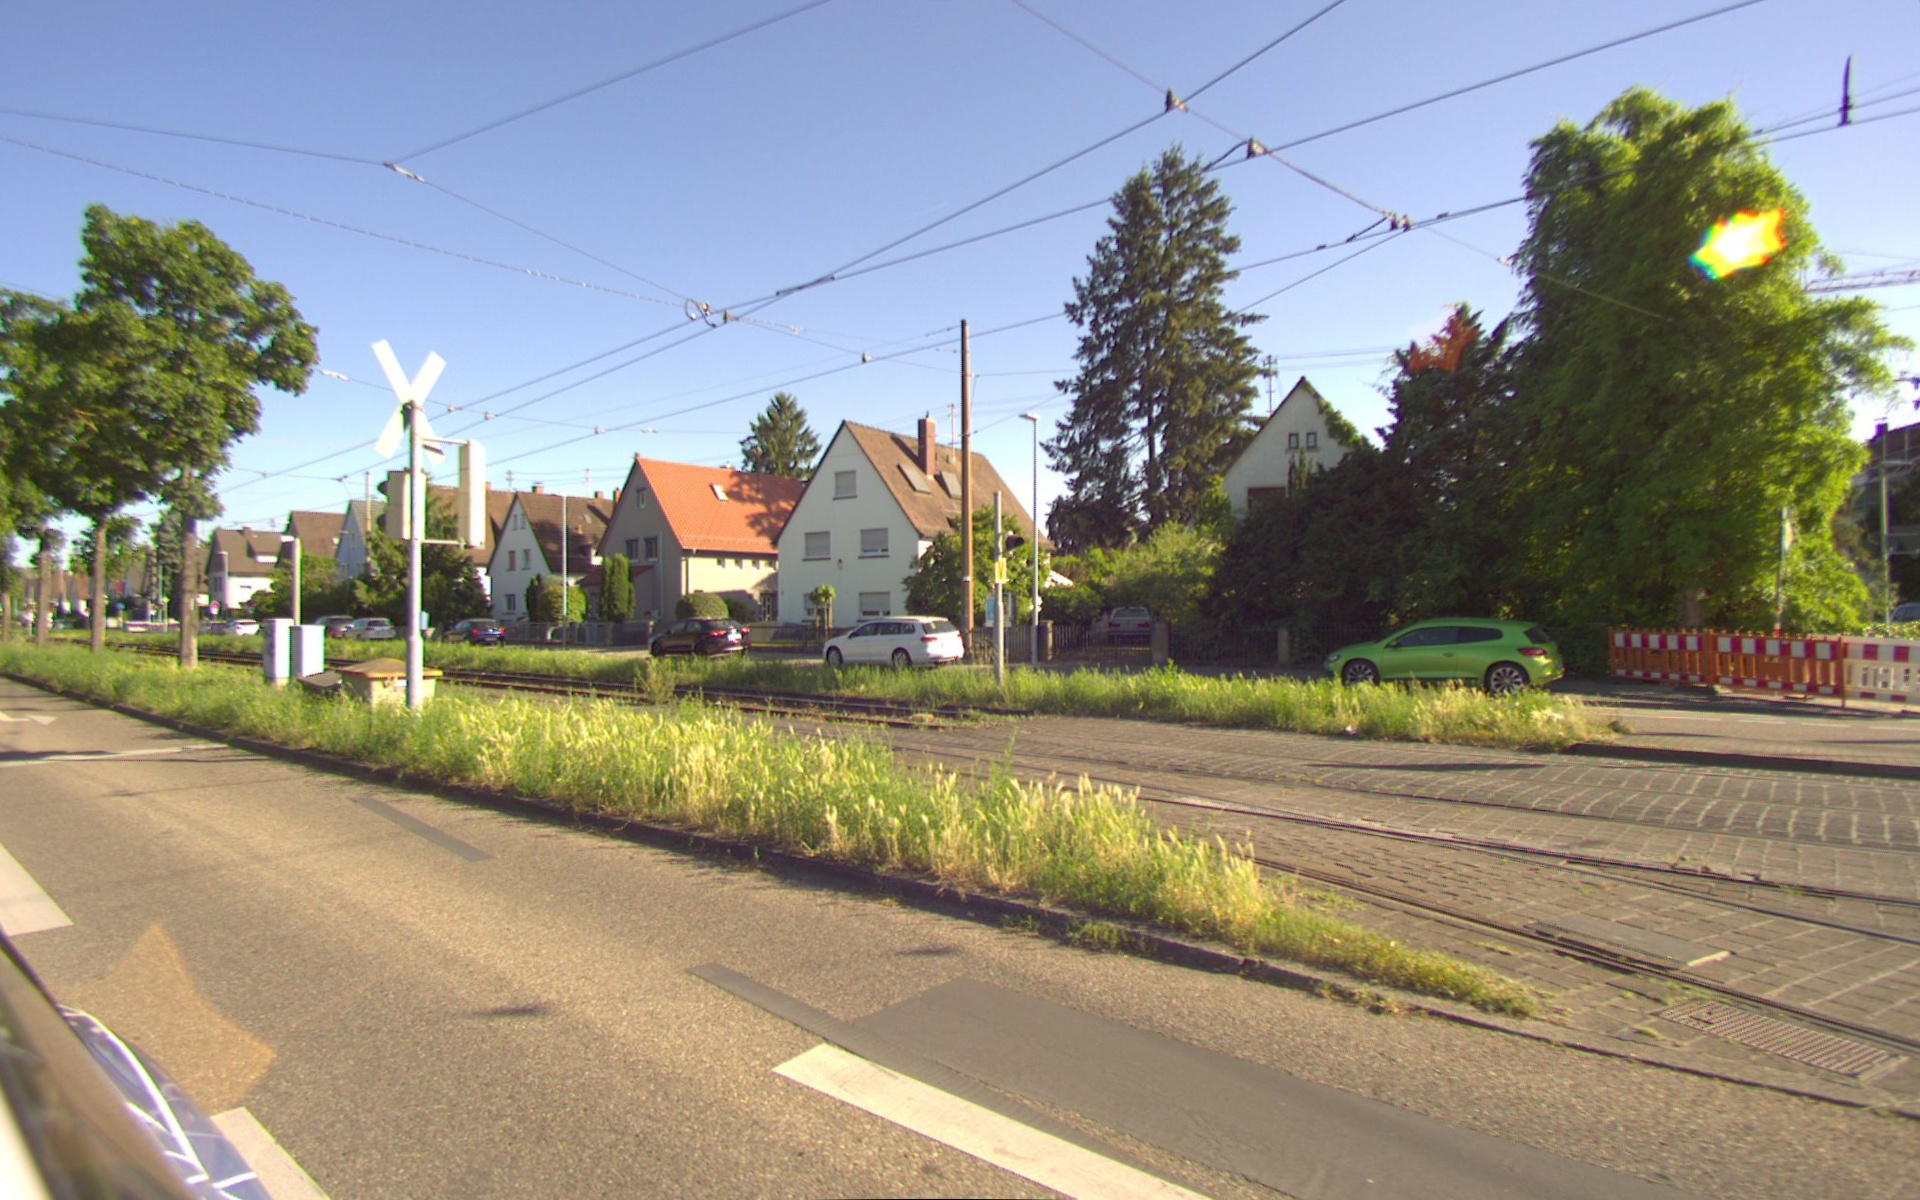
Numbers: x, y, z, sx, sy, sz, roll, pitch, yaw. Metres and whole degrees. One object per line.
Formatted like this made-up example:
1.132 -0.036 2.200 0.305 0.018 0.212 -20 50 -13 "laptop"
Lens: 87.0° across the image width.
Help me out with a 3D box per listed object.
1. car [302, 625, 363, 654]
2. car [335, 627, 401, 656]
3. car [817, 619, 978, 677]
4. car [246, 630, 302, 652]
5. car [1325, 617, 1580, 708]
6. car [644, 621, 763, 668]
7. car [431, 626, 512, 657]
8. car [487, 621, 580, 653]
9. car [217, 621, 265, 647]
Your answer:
-37.610 2.360 60.617 4.535 1.573 1.864 -2 0 42 "car"
-33.647 2.323 57.476 4.837 1.483 1.864 -2 0 42 "car"
-1.867 1.311 29.124 4.611 1.483 1.865 -1 0 40 "car"
-46.324 2.754 68.289 4.980 1.351 1.973 -1 0 42 "car"
9.425 1.116 19.497 4.066 1.512 1.973 -1 0 40 "car"
-9.019 1.496 35.395 4.439 1.477 1.887 -1 0 42 "car"
-23.112 1.927 47.821 4.309 1.382 1.972 -2 -1 42 "car"
-23.596 2.019 56.096 1.746 1.481 4.433 -1 1 39 "car"
-52.870 2.479 74.383 4.583 1.877 1.972 -2 -1 42 "car"
